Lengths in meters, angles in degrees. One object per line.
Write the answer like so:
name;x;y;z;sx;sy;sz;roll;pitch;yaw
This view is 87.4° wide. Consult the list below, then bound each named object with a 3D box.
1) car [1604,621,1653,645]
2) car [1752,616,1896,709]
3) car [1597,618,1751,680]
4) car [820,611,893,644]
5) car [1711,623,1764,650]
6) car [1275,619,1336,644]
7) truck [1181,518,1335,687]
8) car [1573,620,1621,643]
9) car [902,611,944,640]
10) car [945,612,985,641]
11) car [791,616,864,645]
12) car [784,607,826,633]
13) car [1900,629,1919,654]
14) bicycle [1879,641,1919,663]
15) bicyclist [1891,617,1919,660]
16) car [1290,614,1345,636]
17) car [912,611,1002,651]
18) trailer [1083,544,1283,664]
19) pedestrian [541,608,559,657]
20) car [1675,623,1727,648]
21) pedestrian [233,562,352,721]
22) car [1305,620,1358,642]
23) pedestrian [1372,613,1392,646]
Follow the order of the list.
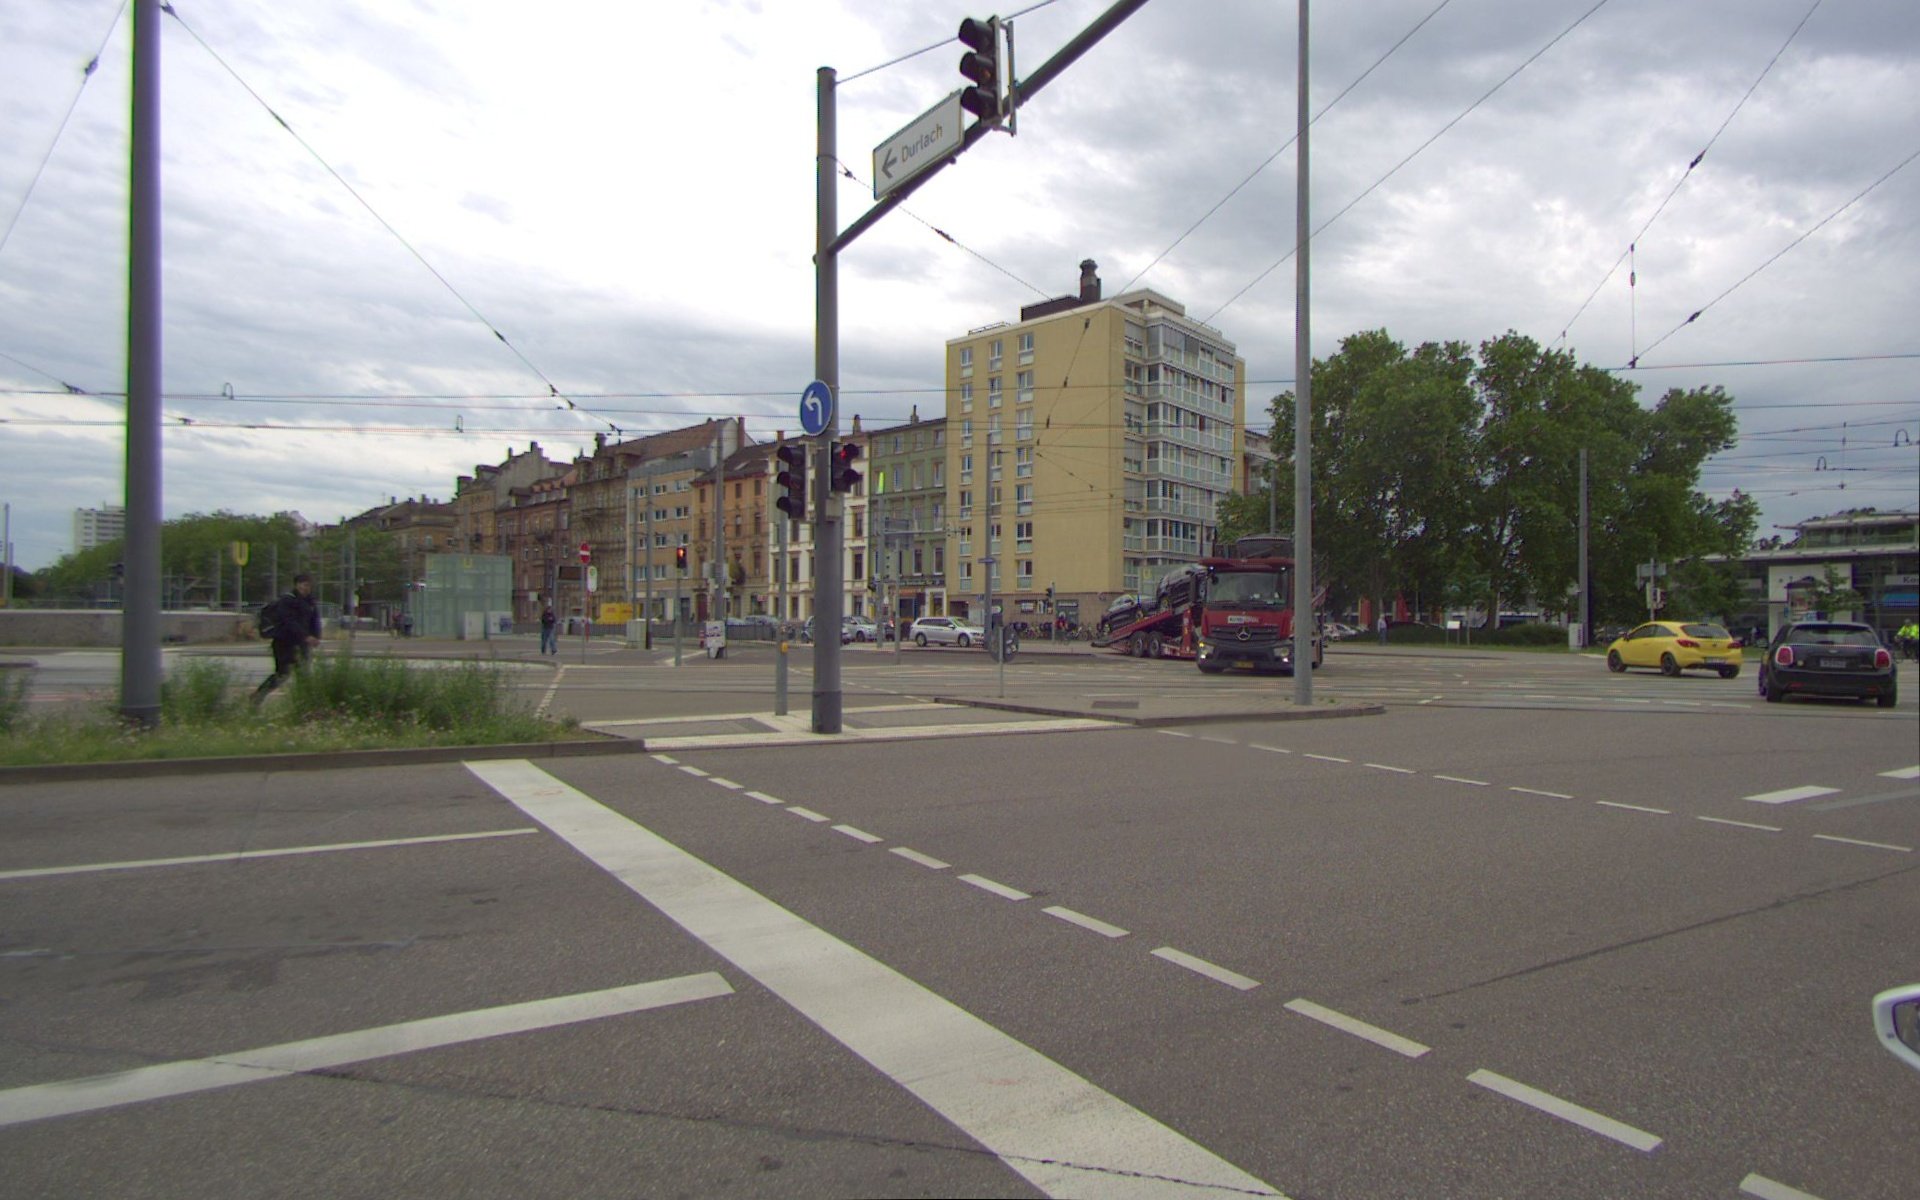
car;59.946;2.964;90.060;3.949;2.040;1.986;1;0;-27
car;15.666;1.059;18.388;1.747;1.488;3.984;0;-1;37
car;19.775;1.303;28.050;1.786;1.514;4.002;1;0;7
car;-5.991;1.537;57.968;3.940;1.751;1.991;1;0;40
car;63.967;3.001;82.633;3.949;2.040;1.986;1;0;-27
car;26.537;2.413;77.187;3.937;1.728;1.992;1;0;38
truck;8.936;0.097;29.037;2.957;3.972;10.450;1;0;23
car;58.847;2.872;92.750;3.949;2.040;1.986;1;0;-27
car;-2.411;1.669;66.569;2.039;1.779;4.002;1;0;8
car;0.377;1.720;66.063;2.039;1.779;4.002;1;0;8
car;-7.184;1.632;54.375;3.565;1.513;1.992;0;-1;39
car;-11.576;1.471;75.316;2.039;1.779;4.002;1;0;8
car;58.125;2.477;59.648;3.673;1.439;1.637;1;-1;-13
bicycle;40.927;2.240;43.458;2.184;0.942;0.519;0;-1;-12
bicyclist;40.901;1.673;43.412;0.783;1.827;0.628;1;-1;-11
car;29.893;2.080;84.068;3.937;1.728;1.992;1;0;38
car;-0.162;1.455;48.114;3.940;1.751;1.991;1;0;40
trailer;8.219;0.143;38.875;2.951;4.026;9.511;1;0;-19
pedestrian;-13.893;1.100;34.021;0.475;1.632;0.422;1;-1;-33
car;62.887;2.986;85.268;3.949;2.040;1.986;1;0;-27
pedestrian;-8.542;0.522;12.883;0.962;1.969;0.782;0;-1;7
car;32.524;2.676;88.033;3.937;1.728;1.992;1;0;38
pedestrian;23.113;1.613;55.066;0.899;1.742;0.706;1;0;30
